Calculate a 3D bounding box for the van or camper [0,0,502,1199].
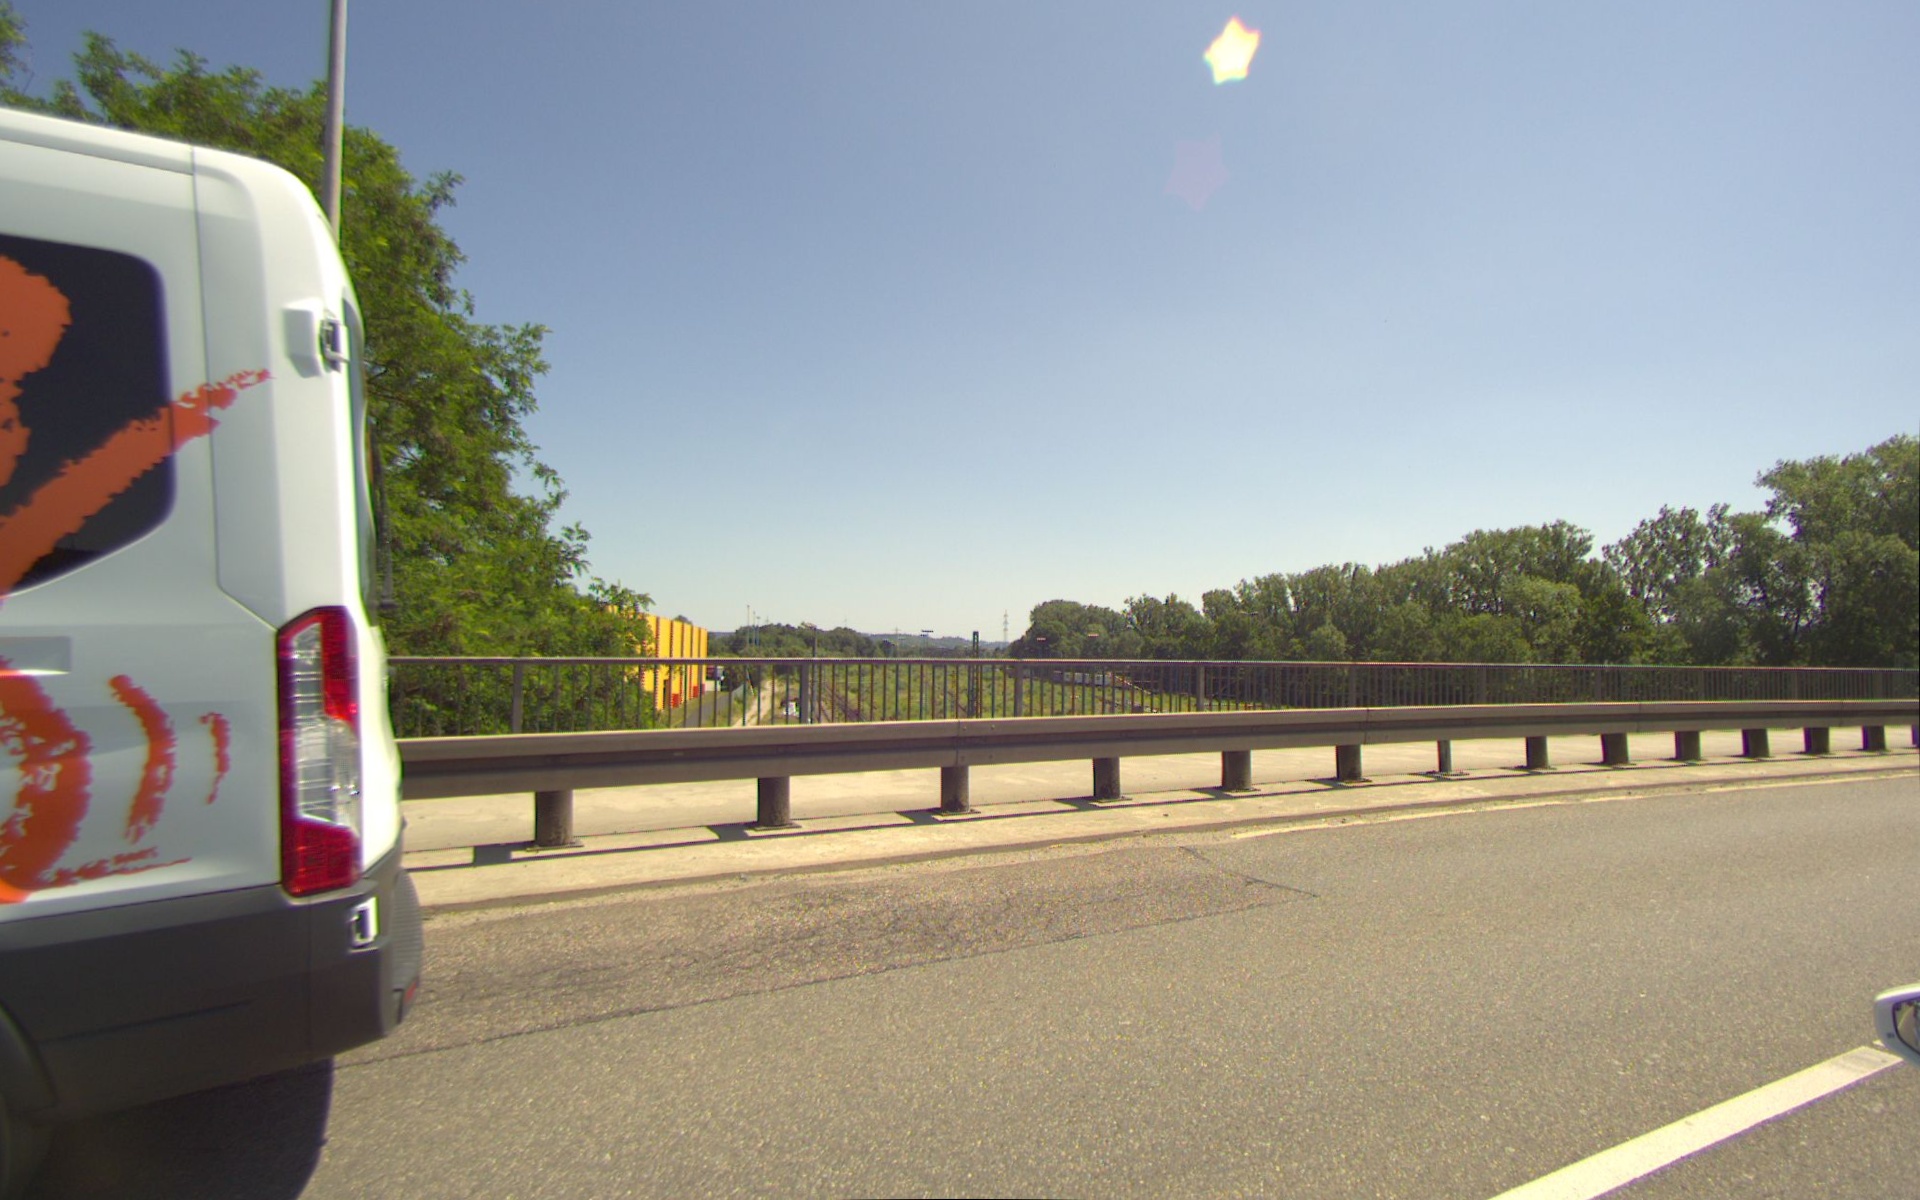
[{"bbox_3d":[-4.081,0.083,1.697,5.815,2.571,2.038,2,0,-31],"label":"van or camper"}]
